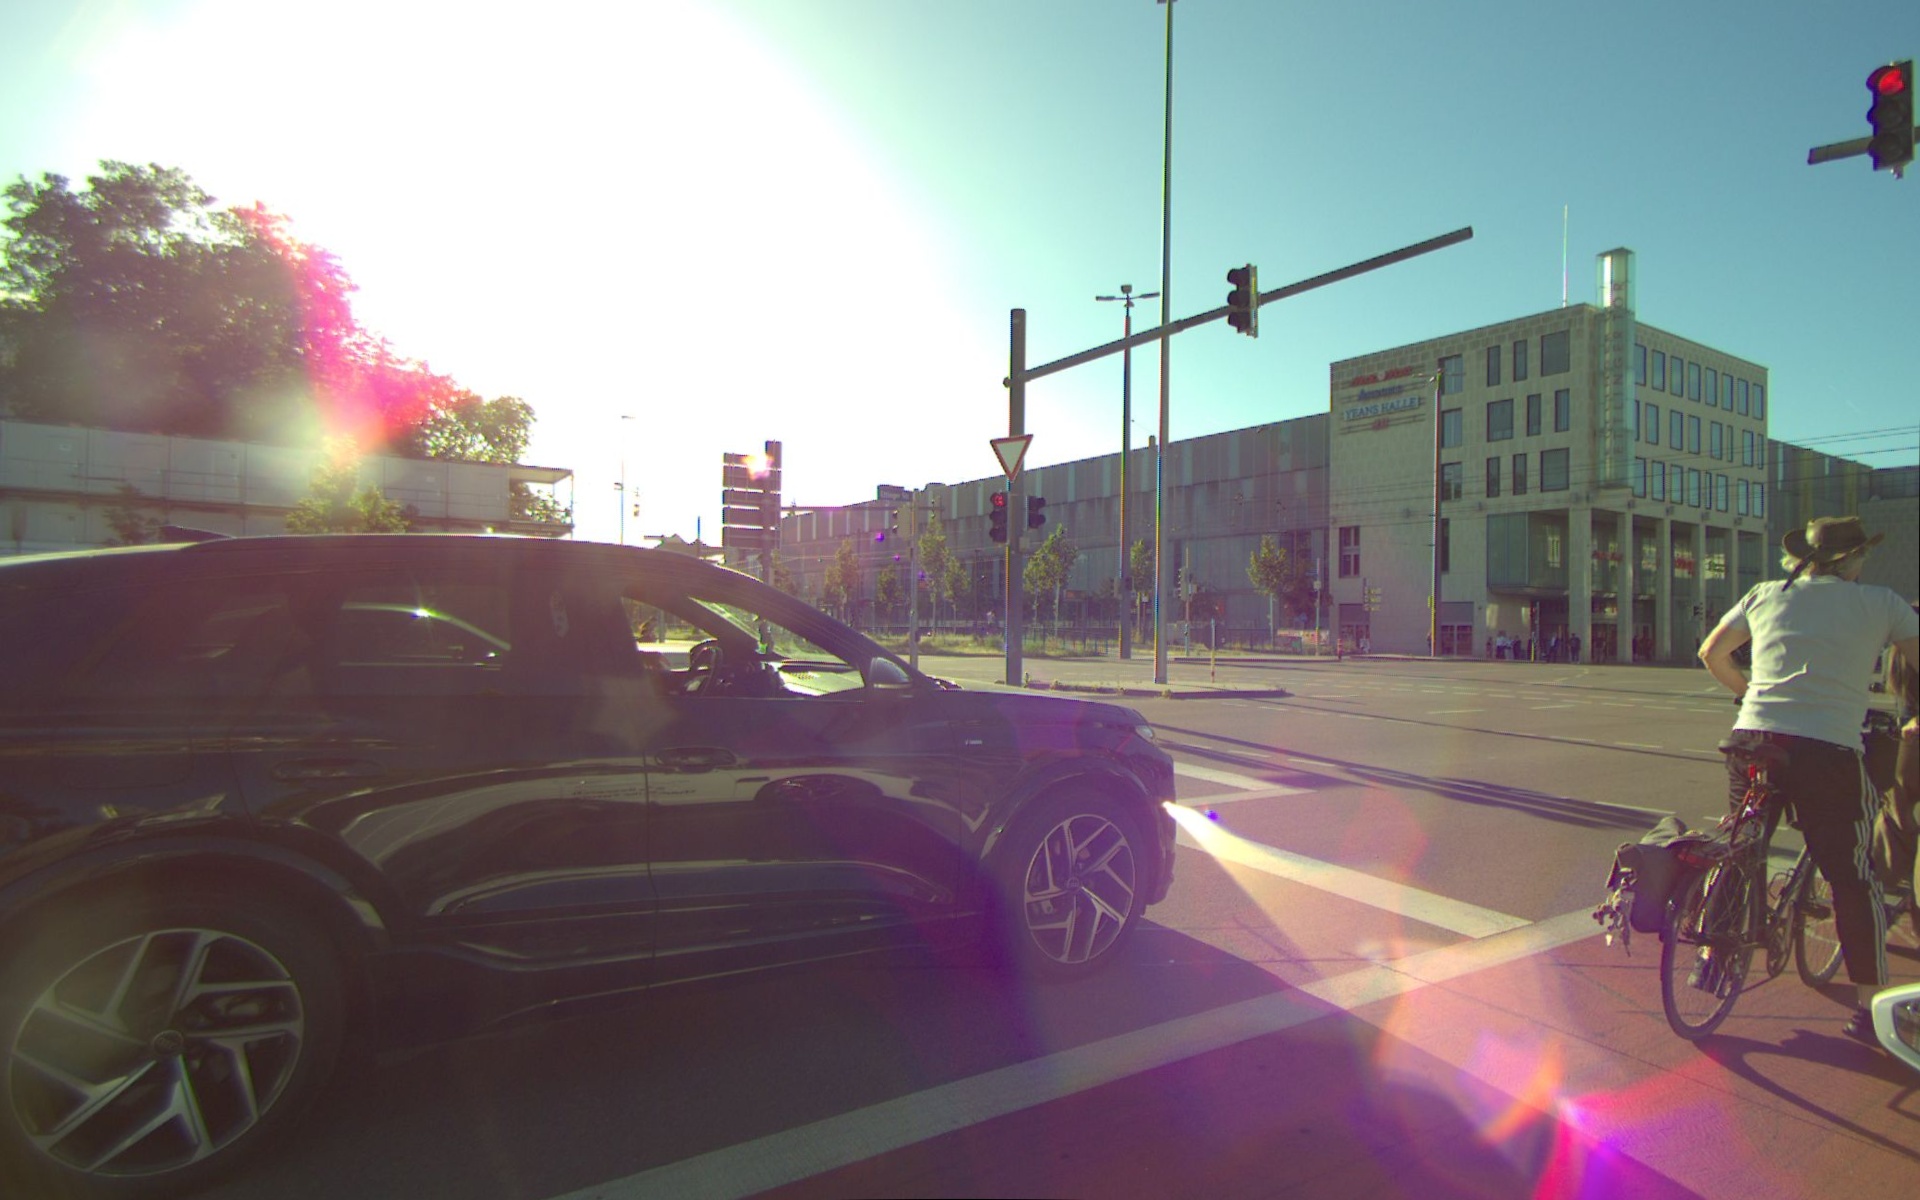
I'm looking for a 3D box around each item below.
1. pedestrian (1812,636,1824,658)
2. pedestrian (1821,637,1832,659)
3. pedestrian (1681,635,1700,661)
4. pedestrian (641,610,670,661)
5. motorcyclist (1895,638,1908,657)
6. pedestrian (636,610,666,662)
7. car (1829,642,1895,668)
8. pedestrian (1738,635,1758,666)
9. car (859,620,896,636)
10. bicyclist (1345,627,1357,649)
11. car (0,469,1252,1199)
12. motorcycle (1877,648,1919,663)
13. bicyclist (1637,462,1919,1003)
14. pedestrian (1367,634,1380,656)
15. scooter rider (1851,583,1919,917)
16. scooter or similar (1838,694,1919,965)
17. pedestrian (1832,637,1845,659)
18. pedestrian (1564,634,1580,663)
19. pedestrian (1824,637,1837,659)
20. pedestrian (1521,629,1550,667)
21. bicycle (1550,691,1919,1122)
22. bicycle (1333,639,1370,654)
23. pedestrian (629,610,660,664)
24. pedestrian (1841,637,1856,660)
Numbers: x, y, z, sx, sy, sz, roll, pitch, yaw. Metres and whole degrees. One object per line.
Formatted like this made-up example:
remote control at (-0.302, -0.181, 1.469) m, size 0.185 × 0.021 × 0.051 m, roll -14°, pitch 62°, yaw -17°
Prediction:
pedestrian at (69.991, 3.836, 81.916) m, size 0.510 × 1.752 × 0.472 m, roll 2°, pitch 0°, yaw 9°
pedestrian at (71.295, 3.952, 82.663) m, size 0.510 × 1.752 × 0.472 m, roll 2°, pitch 0°, yaw 9°
pedestrian at (47.172, 3.094, 64.831) m, size 0.616 × 1.660 × 0.776 m, roll 1°, pitch -1°, yaw -20°
pedestrian at (-10.057, 1.154, 33.147) m, size 0.736 × 1.632 × 0.716 m, roll 2°, pitch 0°, yaw -5°
motorcyclist at (70.422, 3.561, 75.114) m, size 0.657 × 1.424 × 0.623 m, roll 2°, pitch 0°, yaw -38°
pedestrian at (-9.962, 1.153, 32.366) m, size 0.736 × 1.632 × 0.716 m, roll 2°, pitch 0°, yaw -5°
car at (49.748, 3.007, 55.400) m, size 3.975 × 1.375 × 1.668 m, roll 1°, pitch -1°, yaw -31°
pedestrian at (43.184, 2.752, 55.039) m, size 0.612 × 1.710 × 0.697 m, roll 1°, pitch -1°, yaw -29°
car at (-8.803, 2.991, 106.797) m, size 1.807 × 1.706 × 4.814 m, roll 1°, pitch -2°, yaw -34°
bicyclist at (25.662, 2.503, 65.946) m, size 0.579 × 1.467 × 0.626 m, roll 0°, pitch -1°, yaw 34°
car at (-1.260, 0.604, 4.044) m, size 4.613 × 1.729 × 2.154 m, roll 1°, pitch 0°, yaw -32°
motorcycle at (70.295, 4.122, 74.968) m, size 1.106 × 1.006 × 2.582 m, roll 2°, pitch 0°, yaw -38°
bicyclist at (3.189, 0.433, 3.764) m, size 0.842 × 1.723 × 0.802 m, roll 1°, pitch -1°, yaw -30°
pedestrian at (28.686, 3.120, 69.690) m, size 0.622 × 1.562 × 0.589 m, roll 1°, pitch -1°, yaw -30°
scooter rider at (4.660, 0.702, 4.782) m, size 0.445 × 1.550 × 0.548 m, roll 1°, pitch -1°, yaw -38°
scooter or similar at (4.386, 1.025, 4.707) m, size 0.832 × 1.122 × 0.303 m, roll 2°, pitch -1°, yaw -42°
pedestrian at (71.503, 3.880, 81.745) m, size 0.616 × 1.752 × 0.471 m, roll 2°, pitch 0°, yaw -1°
pedestrian at (35.653, 2.848, 58.494) m, size 0.622 × 1.667 × 0.589 m, roll 1°, pitch -1°, yaw -30°
pedestrian at (69.579, 3.815, 80.280) m, size 0.615 × 1.752 × 0.472 m, roll 2°, pitch 0°, yaw 4°
pedestrian at (26.173, 2.193, 45.693) m, size 0.994 × 1.697 × 0.818 m, roll 1°, pitch -1°, yaw -33°
bicycle at (3.086, 0.965, 3.733) m, size 1.868 × 1.162 × 0.735 m, roll 1°, pitch -1°, yaw -30°
bicycle at (25.680, 3.059, 65.926) m, size 2.181 × 0.915 × 0.635 m, roll 0°, pitch -1°, yaw 35°
pedestrian at (-9.908, 1.151, 31.559) m, size 0.736 × 1.632 × 0.716 m, roll 2°, pitch 0°, yaw -5°
pedestrian at (70.763, 3.850, 80.007) m, size 0.681 × 1.752 × 0.472 m, roll 2°, pitch 0°, yaw 9°
